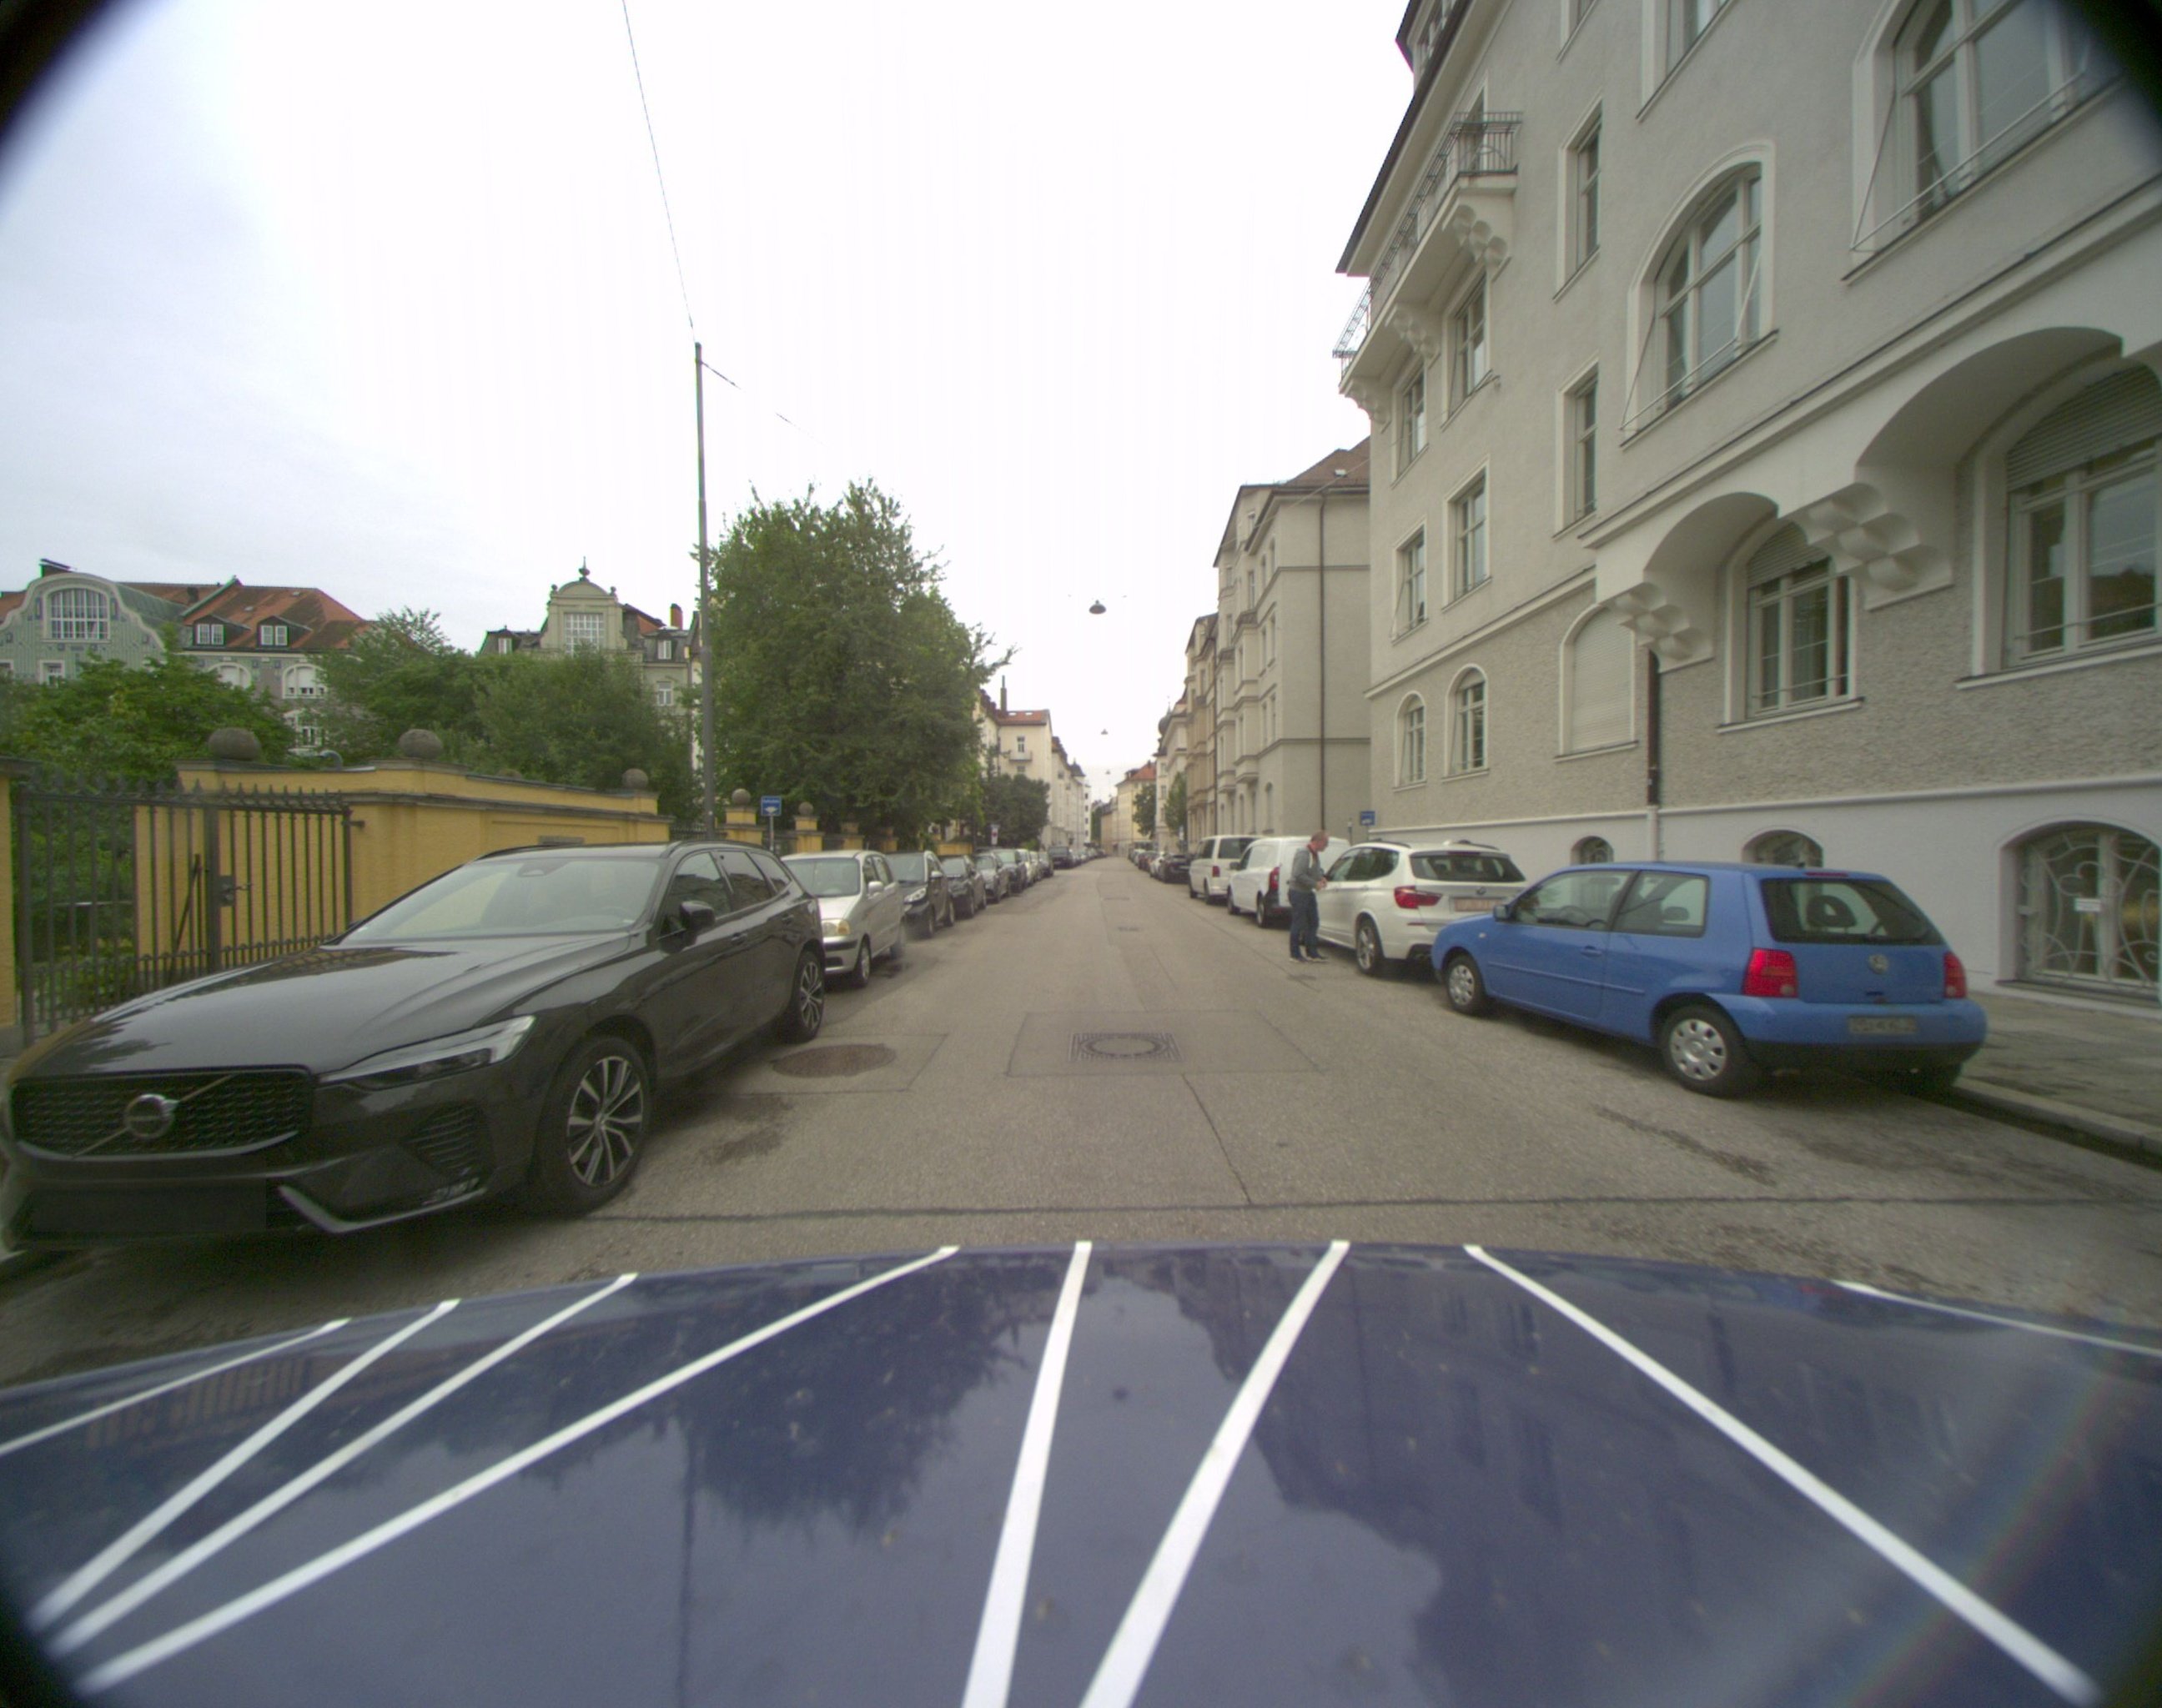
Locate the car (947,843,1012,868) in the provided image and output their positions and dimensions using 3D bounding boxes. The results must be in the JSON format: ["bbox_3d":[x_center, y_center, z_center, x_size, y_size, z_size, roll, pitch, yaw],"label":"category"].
[{"bbox_3d":[-7.586,0.129,57.198,4.678,1.860,1.742,0,-1,-3],"label":"car"}]

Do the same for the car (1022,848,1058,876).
[{"bbox_3d":[-2.304,0.415,43.776,1.717,1.445,4.954,0,1,1],"label":"car"}]

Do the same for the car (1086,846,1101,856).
[{"bbox_3d":[2.046,-0.490,124.431,1.998,1.585,4.300,-4,0,4],"label":"car"}]

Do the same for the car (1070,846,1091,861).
[{"bbox_3d":[-0.026,-0.043,88.901,1.998,1.585,4.300,-4,0,4],"label":"car"}]

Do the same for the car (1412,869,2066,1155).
[{"bbox_3d":[4.432,0.889,5.972,1.697,1.406,3.660,1,1,-7],"label":"car"}]

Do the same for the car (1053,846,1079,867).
[{"bbox_3d":[-1.284,0.208,66.594,1.998,1.585,3.855,-4,0,0],"label":"car"}]

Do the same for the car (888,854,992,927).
[{"bbox_3d":[-3.177,0.767,17.890,1.696,1.406,4.035,-2,1,-1],"label":"car"}]

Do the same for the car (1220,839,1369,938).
[{"bbox_3d":[4.355,0.603,16.385,1.751,1.778,5.036,1,1,0],"label":"car"}]

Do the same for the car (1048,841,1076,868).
[{"bbox_3d":[-1.465,0.017,61.579,1.998,1.949,4.433,-4,0,0],"label":"car"}]

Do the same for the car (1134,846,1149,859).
[{"bbox_3d":[7.268,-0.174,91.870,1.627,1.522,3.689,1,1,2],"label":"car"}]

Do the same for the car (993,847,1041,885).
[{"bbox_3d":[-2.803,0.484,34.123,1.717,1.562,4.319,0,1,1],"label":"car"}]

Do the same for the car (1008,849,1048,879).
[{"bbox_3d":[-2.654,0.485,39.034,1.717,1.445,4.183,0,1,1],"label":"car"}]

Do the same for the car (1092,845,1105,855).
[{"bbox_3d":[3.181,-0.727,139.128,1.998,1.672,4.300,-4,0,5],"label":"car"}]

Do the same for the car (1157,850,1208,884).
[{"bbox_3d":[4.730,0.565,36.070,1.860,1.404,4.378,1,1,1],"label":"car"}]

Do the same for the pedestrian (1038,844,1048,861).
[{"bbox_3d":[-3.793,-0.153,75.835,0.876,1.680,1.052,0,1,2],"label":"pedestrian"}]

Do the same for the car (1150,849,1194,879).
[{"bbox_3d":[4.863,0.492,41.126,1.860,1.455,4.378,1,1,1],"label":"car"}]

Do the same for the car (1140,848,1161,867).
[{"bbox_3d":[5.639,0.273,61.971,1.626,1.421,3.942,1,1,4],"label":"car"}]

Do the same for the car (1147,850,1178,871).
[{"bbox_3d":[5.482,0.414,51.390,1.809,1.355,3.730,1,1,3],"label":"car"}]

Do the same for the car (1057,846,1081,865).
[{"bbox_3d":[-1.121,0.126,71.762,1.998,1.643,4.448,-4,0,1],"label":"car"}]

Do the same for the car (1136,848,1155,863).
[{"bbox_3d":[6.462,0.140,76.581,1.627,1.421,3.689,1,1,0],"label":"car"}]

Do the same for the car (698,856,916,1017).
[{"bbox_3d":[-3.181,0.840,9.573,1.488,1.531,3.691,-2,1,-3],"label":"car"}]

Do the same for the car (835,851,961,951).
[{"bbox_3d":[-3.254,0.772,14.002,1.511,1.557,2.869,-2,1,1],"label":"car"}]

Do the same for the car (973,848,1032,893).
[{"bbox_3d":[-2.891,0.558,29.018,1.717,1.562,4.690,0,1,1],"label":"car"}]

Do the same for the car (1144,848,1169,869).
[{"bbox_3d":[5.560,0.328,56.316,1.626,1.448,3.941,1,1,3],"label":"car"}]

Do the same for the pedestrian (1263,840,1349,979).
[{"bbox_3d":[3.006,0.696,10.114,0.962,1.746,0.878,0,1,25],"label":"pedestrian"}]

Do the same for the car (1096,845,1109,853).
[{"bbox_3d":[4.214,-0.991,149.398,1.997,1.585,4.301,-4,0,8],"label":"car"}]

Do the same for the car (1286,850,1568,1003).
[{"bbox_3d":[4.334,0.774,10.436,1.751,1.593,4.495,1,1,-1],"label":"car"}]

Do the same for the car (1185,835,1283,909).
[{"bbox_3d":[4.374,0.438,22.544,1.860,1.927,4.956,1,1,0],"label":"car"}]

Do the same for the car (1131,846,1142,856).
[{"bbox_3d":[8.628,-0.493,118.457,1.627,1.522,3.920,1,1,2],"label":"car"}]

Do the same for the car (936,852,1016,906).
[{"bbox_3d":[-3.052,0.676,22.988,1.696,1.406,4.515,0,1,1],"label":"car"}]

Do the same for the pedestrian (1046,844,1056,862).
[{"bbox_3d":[-2.981,-0.092,75.755,0.876,1.746,1.052,0,1,2],"label":"pedestrian"}]

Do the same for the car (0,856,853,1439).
[{"bbox_3d":[-3.048,0.904,4.691,1.889,1.643,4.822,-2,1,-2],"label":"car"}]

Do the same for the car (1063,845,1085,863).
[{"bbox_3d":[-0.644,-0.005,76.704,1.998,1.585,4.299,-4,0,1],"label":"car"}]

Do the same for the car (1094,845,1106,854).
[{"bbox_3d":[3.640,-0.790,144.548,1.998,1.585,4.429,-4,0,5],"label":"car"}]
